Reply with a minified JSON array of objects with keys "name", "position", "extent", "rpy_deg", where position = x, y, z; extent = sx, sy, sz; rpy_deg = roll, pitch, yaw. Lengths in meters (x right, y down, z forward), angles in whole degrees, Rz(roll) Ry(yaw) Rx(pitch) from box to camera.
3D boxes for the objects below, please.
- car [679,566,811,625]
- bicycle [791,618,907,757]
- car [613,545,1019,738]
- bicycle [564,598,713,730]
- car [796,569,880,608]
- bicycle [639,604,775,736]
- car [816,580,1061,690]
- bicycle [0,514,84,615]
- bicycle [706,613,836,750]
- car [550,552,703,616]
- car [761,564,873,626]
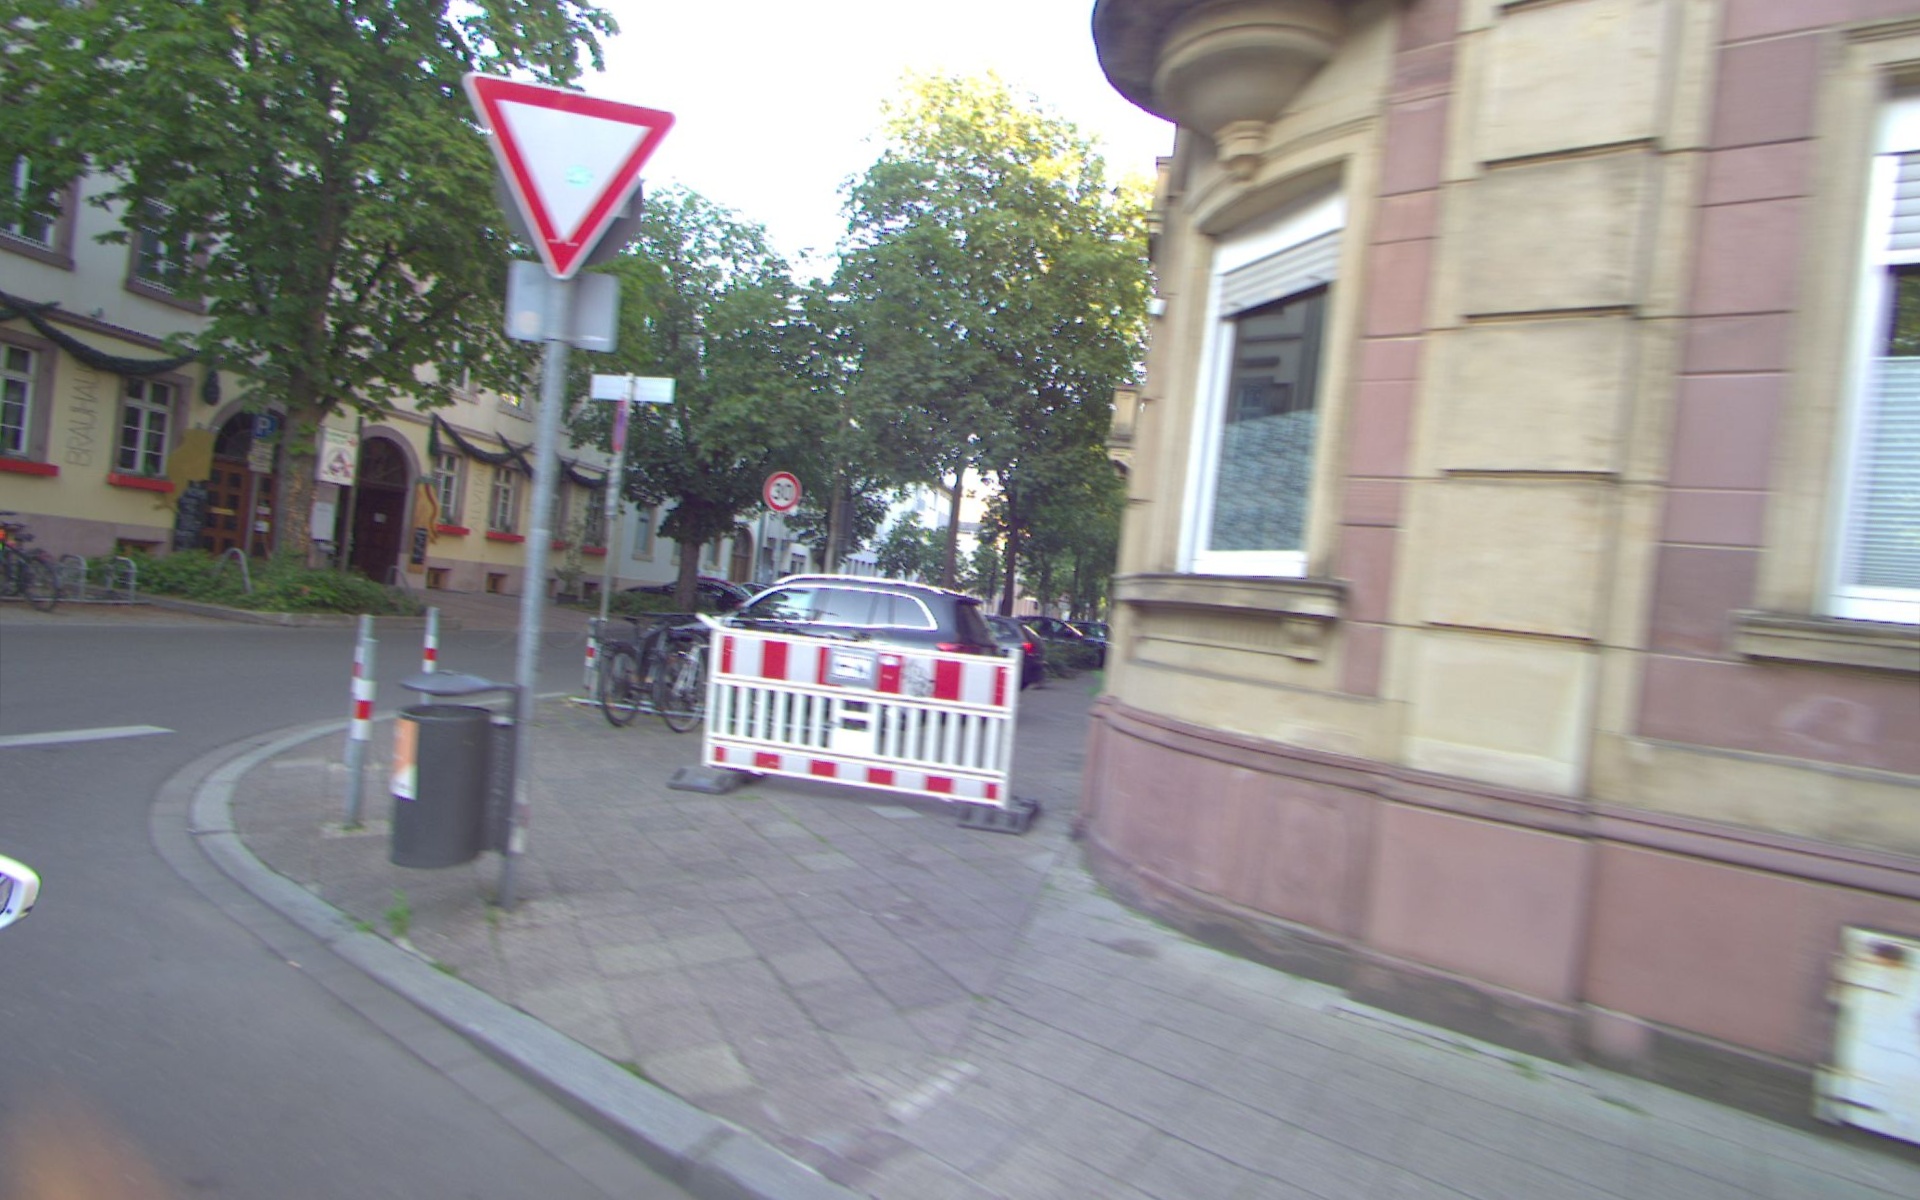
[{"name":"car","position":[-8.074,-0.168,37.863],"extent":[4.361,1.633,1.777],"rpy_deg":[7,0,14]},{"name":"bicycle","position":[-0.961,0.735,9.168],"extent":[0.357,1.103,1.870],"rpy_deg":[5,1,13]},{"name":"car","position":[-1.717,0.446,12.410],"extent":[4.504,1.761,1.776],"rpy_deg":[5,1,14]},{"name":"bicycle","position":[-2.987,0.563,9.544],"extent":[0.357,1.103,1.870],"rpy_deg":[5,1,13]},{"name":"car","position":[-7.064,-0.661,58.328],"extent":[4.361,1.633,1.777],"rpy_deg":[7,0,14]},{"name":"bicycle","position":[-2.352,0.619,9.572],"extent":[0.357,1.103,1.870],"rpy_deg":[5,1,13]},{"name":"car","position":[-0.380,0.671,19.716],"extent":[4.361,1.505,1.777],"rpy_deg":[7,0,14]},{"name":"bicycle","position":[-12.385,-0.517,12.990],"extent":[2.003,1.160,0.421],"rpy_deg":[7,1,12]},{"name":"bicycle","position":[-1.679,0.688,9.215],"extent":[0.357,1.103,1.870],"rpy_deg":[5,1,13]},{"name":"car","position":[-10.911,-0.514,32.949],"extent":[4.361,1.524,1.777],"rpy_deg":[7,0,14]},{"name":"car","position":[-6.359,-0.220,44.884],"extent":[4.361,2.149,1.777],"rpy_deg":[7,0,14]}]
